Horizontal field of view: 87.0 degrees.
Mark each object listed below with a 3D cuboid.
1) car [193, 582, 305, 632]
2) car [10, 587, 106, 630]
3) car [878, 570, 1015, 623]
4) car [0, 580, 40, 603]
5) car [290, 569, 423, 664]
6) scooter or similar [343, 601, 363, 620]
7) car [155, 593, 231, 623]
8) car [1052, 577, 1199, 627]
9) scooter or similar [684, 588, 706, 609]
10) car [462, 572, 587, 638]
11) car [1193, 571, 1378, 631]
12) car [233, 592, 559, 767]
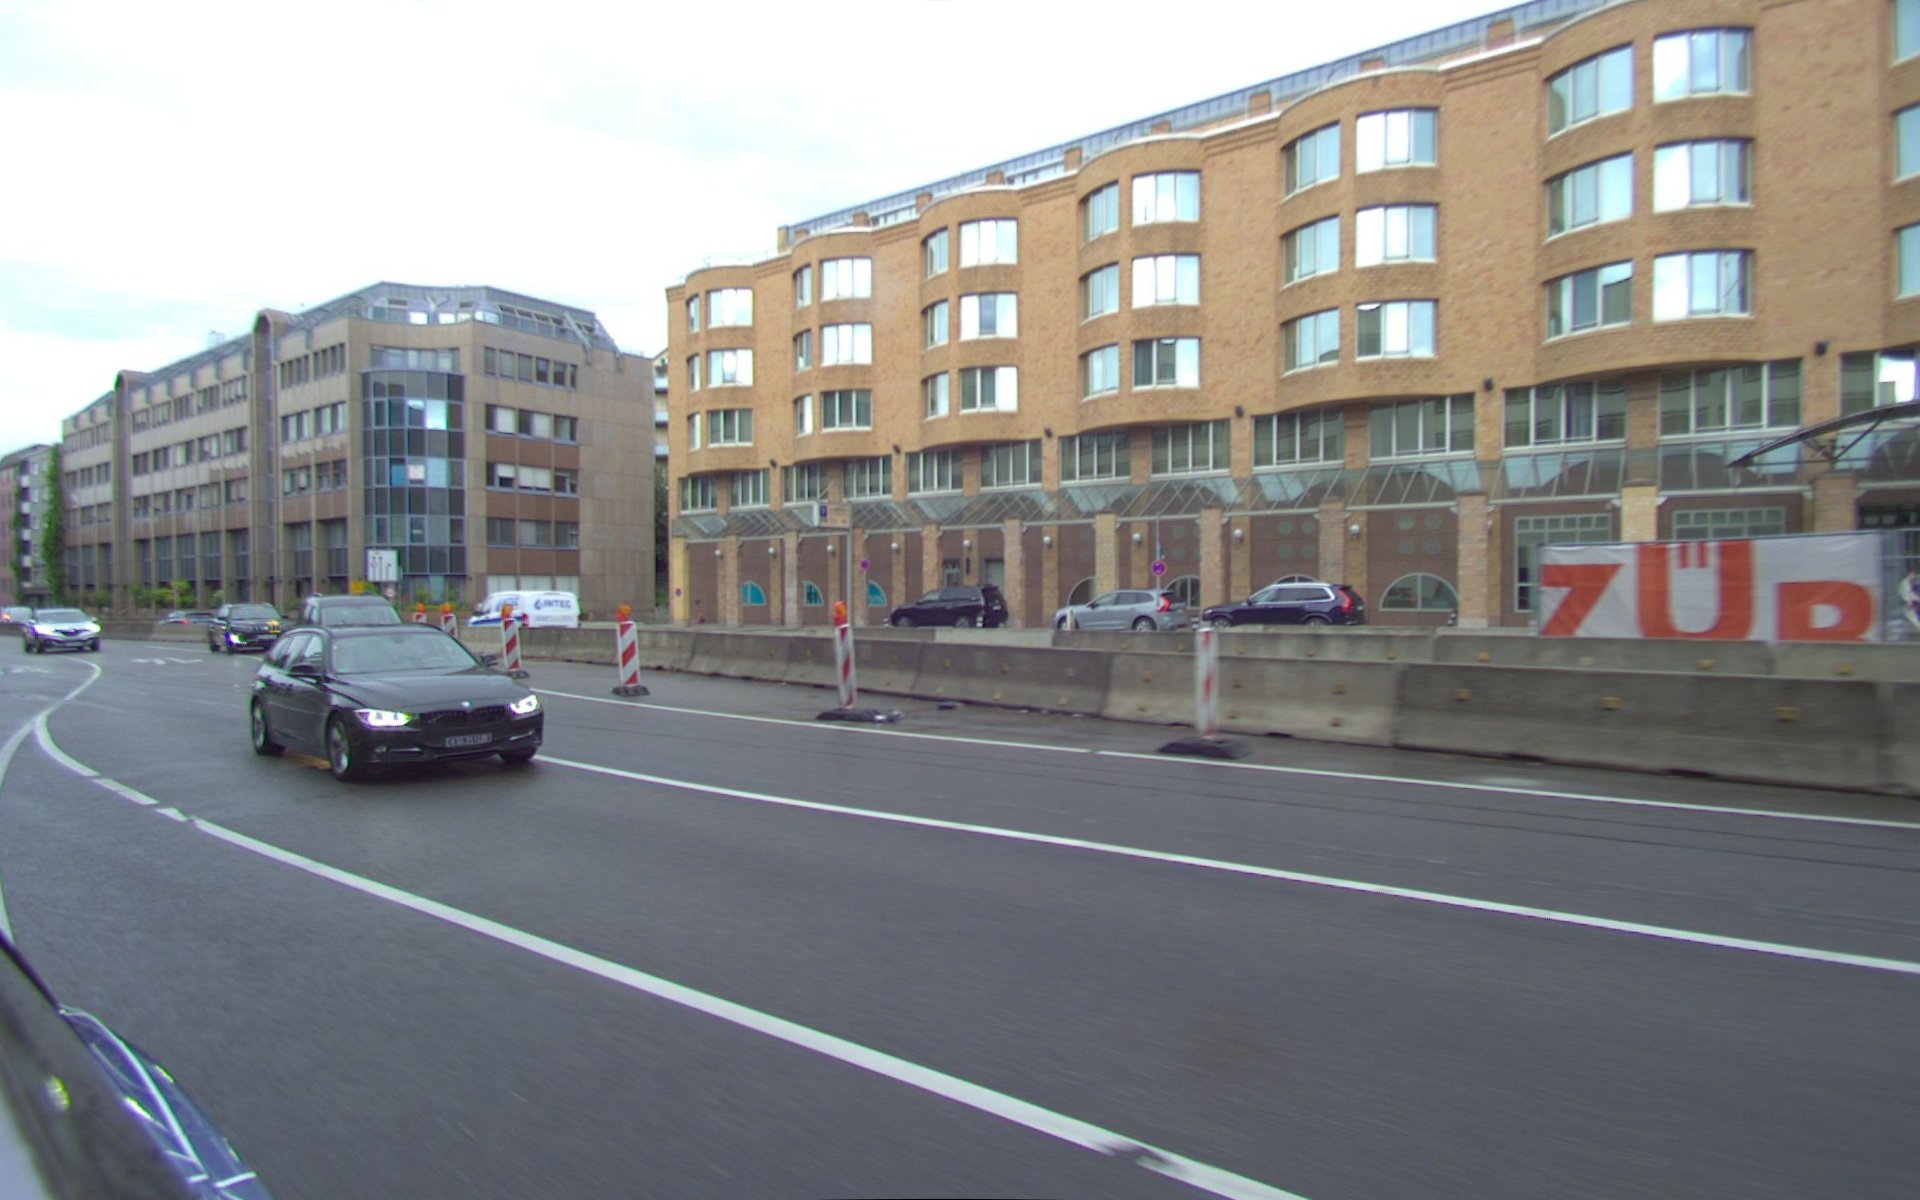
[{"bbox_3d":[-23.645,0.214,33.605,4.347,1.545,1.752,0,1,36],"label":"car"},{"bbox_3d":[-34.068,0.303,38.186,4.647,1.545,1.752,0,1,36],"label":"car"},{"bbox_3d":[-0.552,-0.134,38.272,5.001,1.900,1.977,0,0,35],"label":"car"},{"bbox_3d":[-73.660,-0.649,78.998,4.868,1.797,1.869,0,1,37],"label":"car"},{"bbox_3d":[-12.882,0.285,21.487,1.772,1.814,4.258,-1,1,-40],"label":"car"},{"bbox_3d":[-34.232,0.574,57.093,1.039,1.071,0.446,0,0,25],"label":"scooter or similar"},{"bbox_3d":[-39.147,0.395,51.638,4.220,1.470,1.976,0,1,36],"label":"car"},{"bbox_3d":[5.572,0.053,34.277,4.529,1.606,1.977,0,1,34],"label":"car"},{"bbox_3d":[-13.888,-0.075,53.014,1.029,1.071,0.451,0,0,-6],"label":"scooter or similar"},{"bbox_3d":[-13.597,0.123,31.474,1.970,1.899,4.874,-1,1,-44],"label":"car"},{"bbox_3d":[9.902,0.017,30.997,5.041,1.703,1.975,0,1,37],"label":"car"},{"bbox_3d":[-6.146,0.658,10.740,4.658,1.454,1.748,0,1,44],"label":"car"}]
